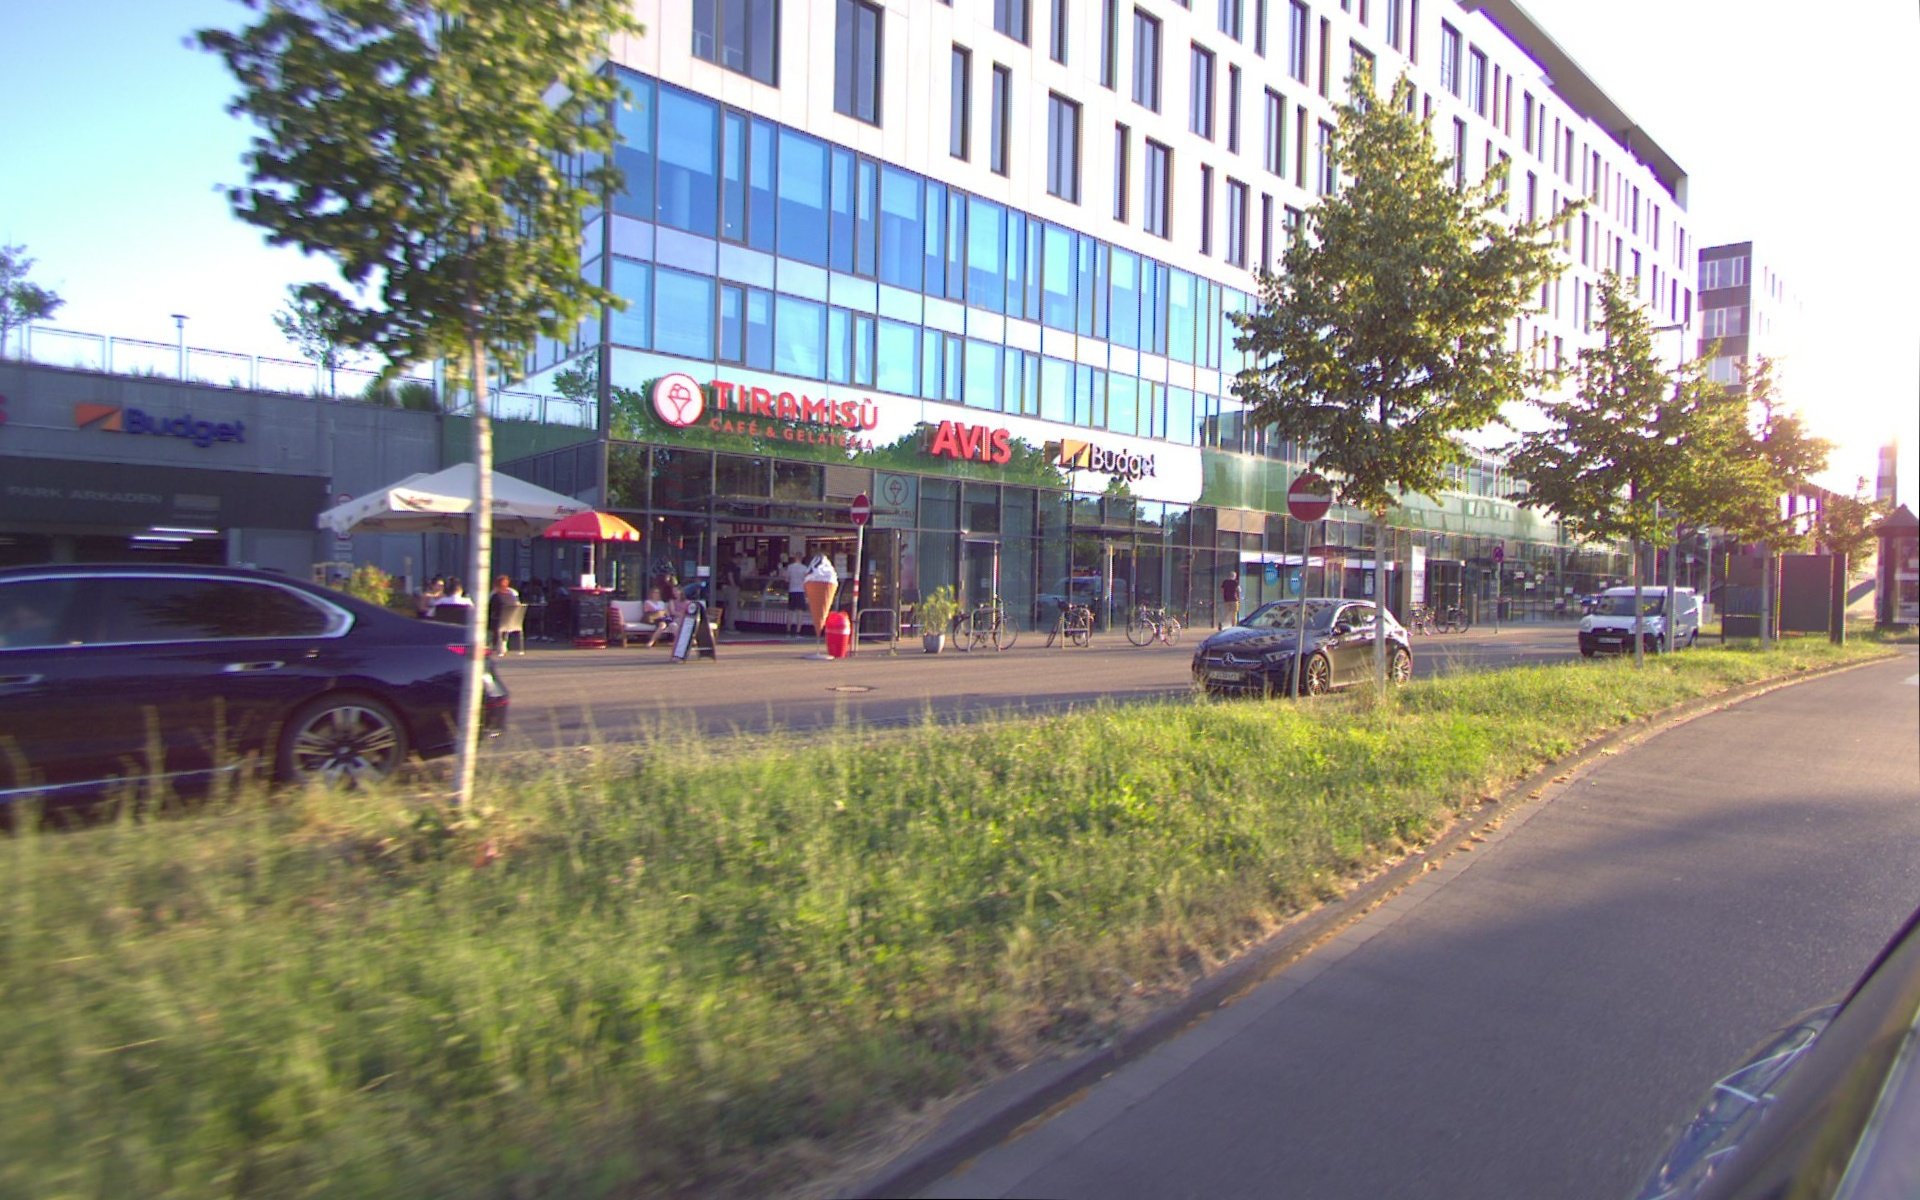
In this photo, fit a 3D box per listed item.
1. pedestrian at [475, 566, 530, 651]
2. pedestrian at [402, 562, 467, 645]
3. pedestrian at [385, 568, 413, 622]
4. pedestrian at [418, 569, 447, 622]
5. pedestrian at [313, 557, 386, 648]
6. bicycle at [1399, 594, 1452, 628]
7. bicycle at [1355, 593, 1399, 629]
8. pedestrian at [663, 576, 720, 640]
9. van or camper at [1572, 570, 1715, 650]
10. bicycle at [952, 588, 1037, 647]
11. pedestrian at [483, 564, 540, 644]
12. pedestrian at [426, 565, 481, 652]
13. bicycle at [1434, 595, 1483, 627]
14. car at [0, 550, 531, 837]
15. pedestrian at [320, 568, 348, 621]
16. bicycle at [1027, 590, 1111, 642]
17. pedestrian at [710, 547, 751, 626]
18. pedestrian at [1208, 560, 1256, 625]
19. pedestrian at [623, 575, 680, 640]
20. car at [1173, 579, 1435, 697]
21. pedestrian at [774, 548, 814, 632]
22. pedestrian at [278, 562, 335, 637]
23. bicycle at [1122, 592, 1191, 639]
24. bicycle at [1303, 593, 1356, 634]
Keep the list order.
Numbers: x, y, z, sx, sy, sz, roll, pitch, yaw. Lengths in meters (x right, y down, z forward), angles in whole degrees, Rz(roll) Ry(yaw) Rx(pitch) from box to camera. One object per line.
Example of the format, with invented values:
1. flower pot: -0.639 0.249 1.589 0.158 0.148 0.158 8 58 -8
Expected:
1. pedestrian: -7.432 0.129 16.423 0.671 1.306 0.778 1 3 -34
2. pedestrian: -8.707 0.042 16.782 0.654 1.306 0.681 3 2 17
3. pedestrian: -13.085 -0.115 23.589 0.525 1.230 0.476 1 1 -34
4. pedestrian: -12.322 -0.108 23.638 0.525 1.230 0.476 1 1 -34
5. pedestrian: -9.605 0.023 15.921 0.741 1.385 0.760 2 1 38
6. bicycle: 15.422 0.380 33.498 1.878 1.053 0.532 2 2 -29
7. bicycle: 13.051 0.325 31.645 0.529 1.053 2.041 5 3 43
8. pedestrian: -5.174 0.139 19.474 0.672 1.139 0.975 0 3 -40
9. van or camper: 18.218 0.261 26.895 4.744 1.944 1.962 0 0 -40
10. bicycle: 0.729 0.345 21.084 1.843 1.147 0.640 1 3 -45
11. pedestrian: -7.678 0.049 17.331 0.681 1.306 0.621 4 3 37
12. pedestrian: -8.005 0.117 15.980 0.671 1.306 0.783 1 3 -34
13. bicycle: 17.467 0.374 35.452 1.838 1.053 0.532 2 2 -29
14. car: -5.665 0.469 6.134 5.317 1.519 1.923 0 1 -41
15. pedestrian: -14.647 -0.128 23.661 0.525 1.230 0.476 1 1 -34
16. bicycle: 2.464 0.350 22.653 2.039 1.076 0.684 1 3 -44
17. pedestrian: -5.331 -0.309 23.503 0.672 1.781 0.662 1 3 -39
18. pedestrian: 8.190 -0.229 30.473 0.931 1.906 1.028 0 1 -41
19. pedestrian: -5.801 0.136 19.023 0.672 1.139 0.975 0 3 -40
20. car: 5.324 0.492 15.367 4.401 1.519 1.812 0 1 -41
21. pedestrian: -3.633 -0.225 22.168 0.670 1.781 0.664 1 2 -23
22. pedestrian: -11.465 -0.016 17.754 0.757 1.281 0.744 0 1 -40
23. bicycle: 4.724 0.354 24.213 0.597 1.053 2.041 5 3 43
24. bicycle: 10.794 0.381 29.529 2.110 1.122 0.388 0 4 -41
